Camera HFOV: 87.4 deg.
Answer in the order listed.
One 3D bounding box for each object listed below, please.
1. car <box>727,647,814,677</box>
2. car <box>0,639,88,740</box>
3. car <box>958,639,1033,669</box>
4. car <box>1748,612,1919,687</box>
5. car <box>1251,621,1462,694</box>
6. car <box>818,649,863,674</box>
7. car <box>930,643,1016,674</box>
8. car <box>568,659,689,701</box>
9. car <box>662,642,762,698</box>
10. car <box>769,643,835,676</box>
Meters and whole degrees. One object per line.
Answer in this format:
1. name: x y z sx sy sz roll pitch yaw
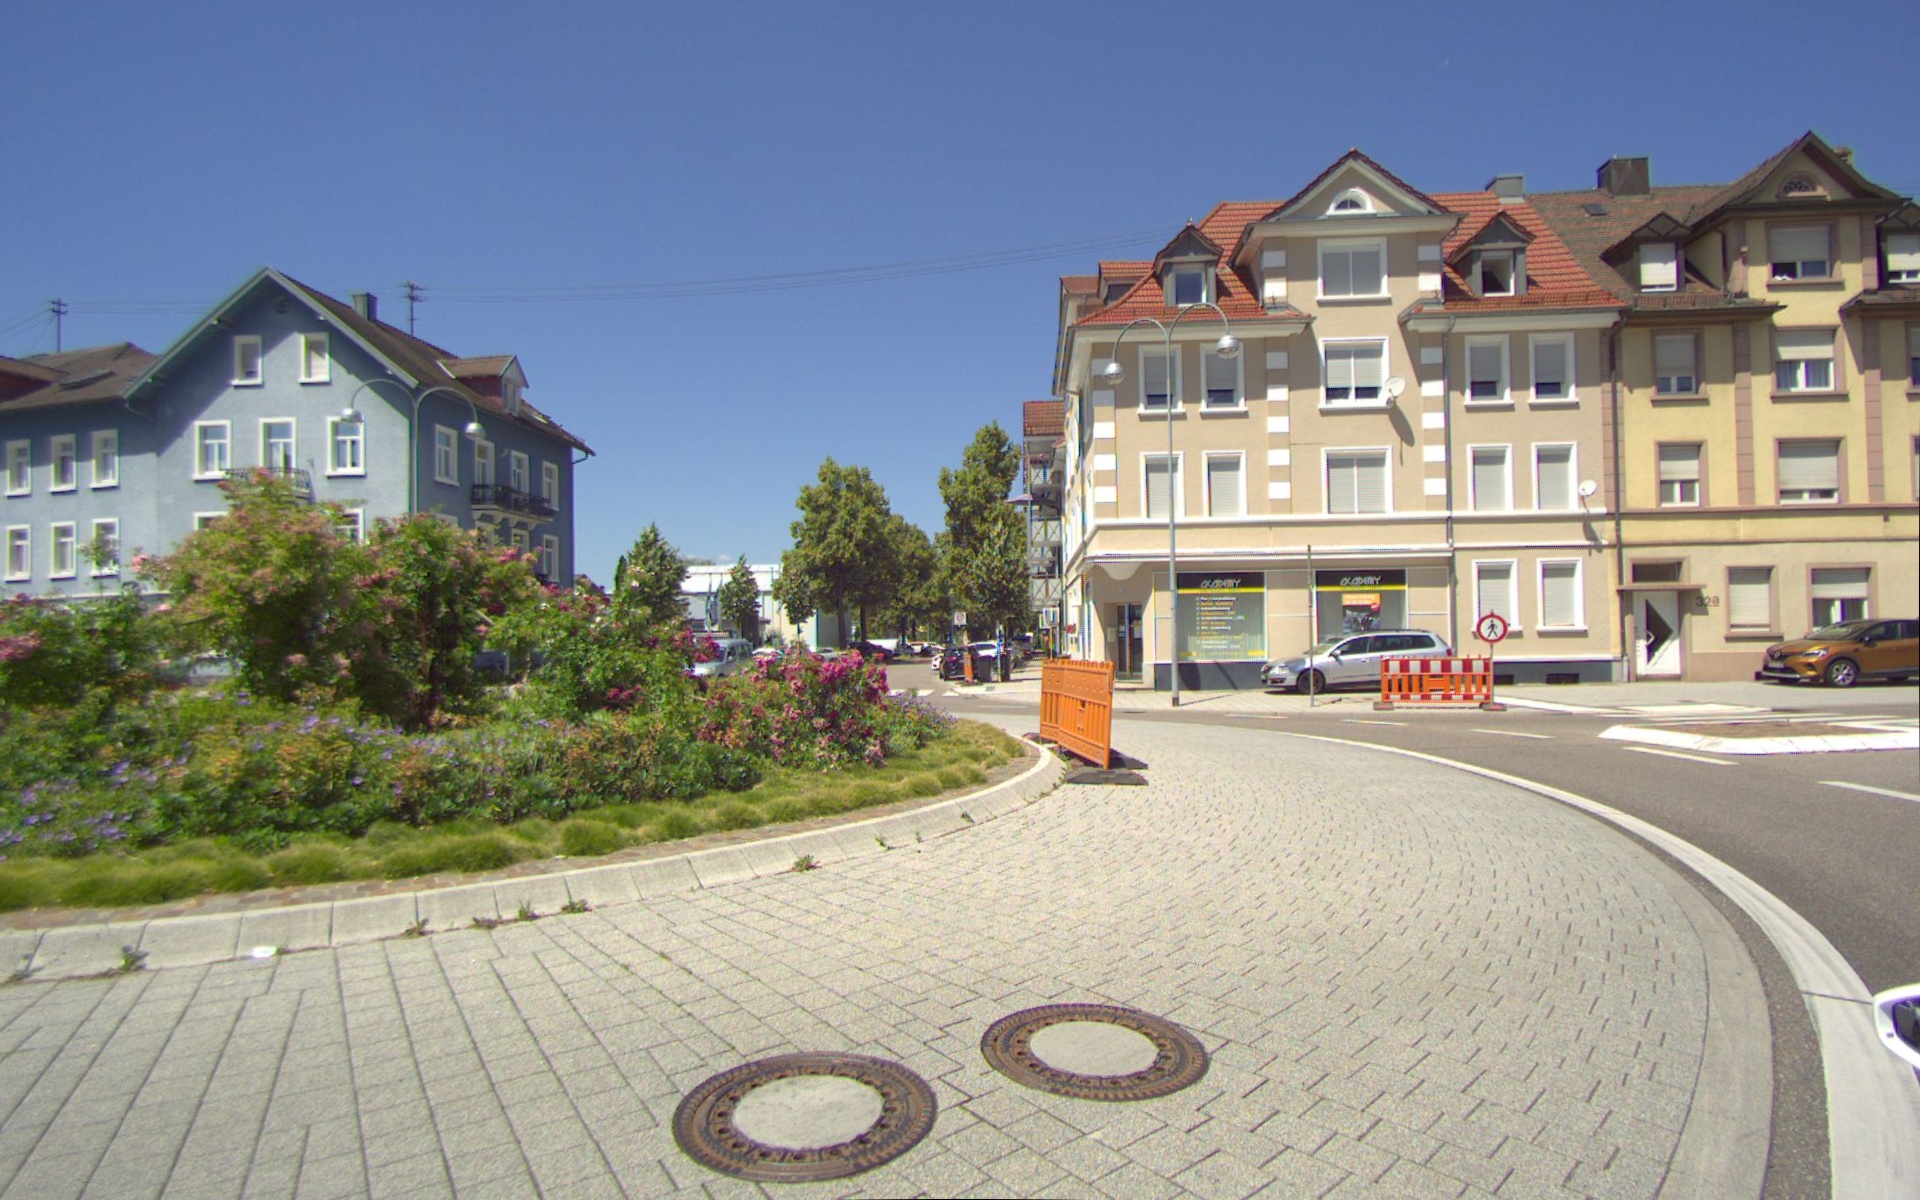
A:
1. car: -10.550 3.445 56.158 4.396 1.530 2.001 -1 -1 2
2. car: -18.639 1.659 18.068 1.754 1.801 4.225 -3 -3 38
3. car: 1.963 2.970 55.276 4.000 1.511 1.984 -1 -3 5
4. car: 21.650 1.169 24.170 4.009 1.638 1.604 -1 0 3
5. car: 9.946 1.450 25.467 4.600 1.708 1.782 -1 -2 3
6. car: -8.209 4.252 69.609 2.238 1.714 4.130 0 -3 6
7. car: 0.723 3.038 52.509 4.320 1.511 1.984 -1 -3 5
8. car: -13.949 3.349 42.382 4.396 1.530 2.001 -1 -1 2
9. car: -8.726 2.448 35.746 1.959 1.693 4.488 -1 -1 7
10. car: -10.383 3.925 66.229 3.919 2.040 2.001 -1 -1 6
